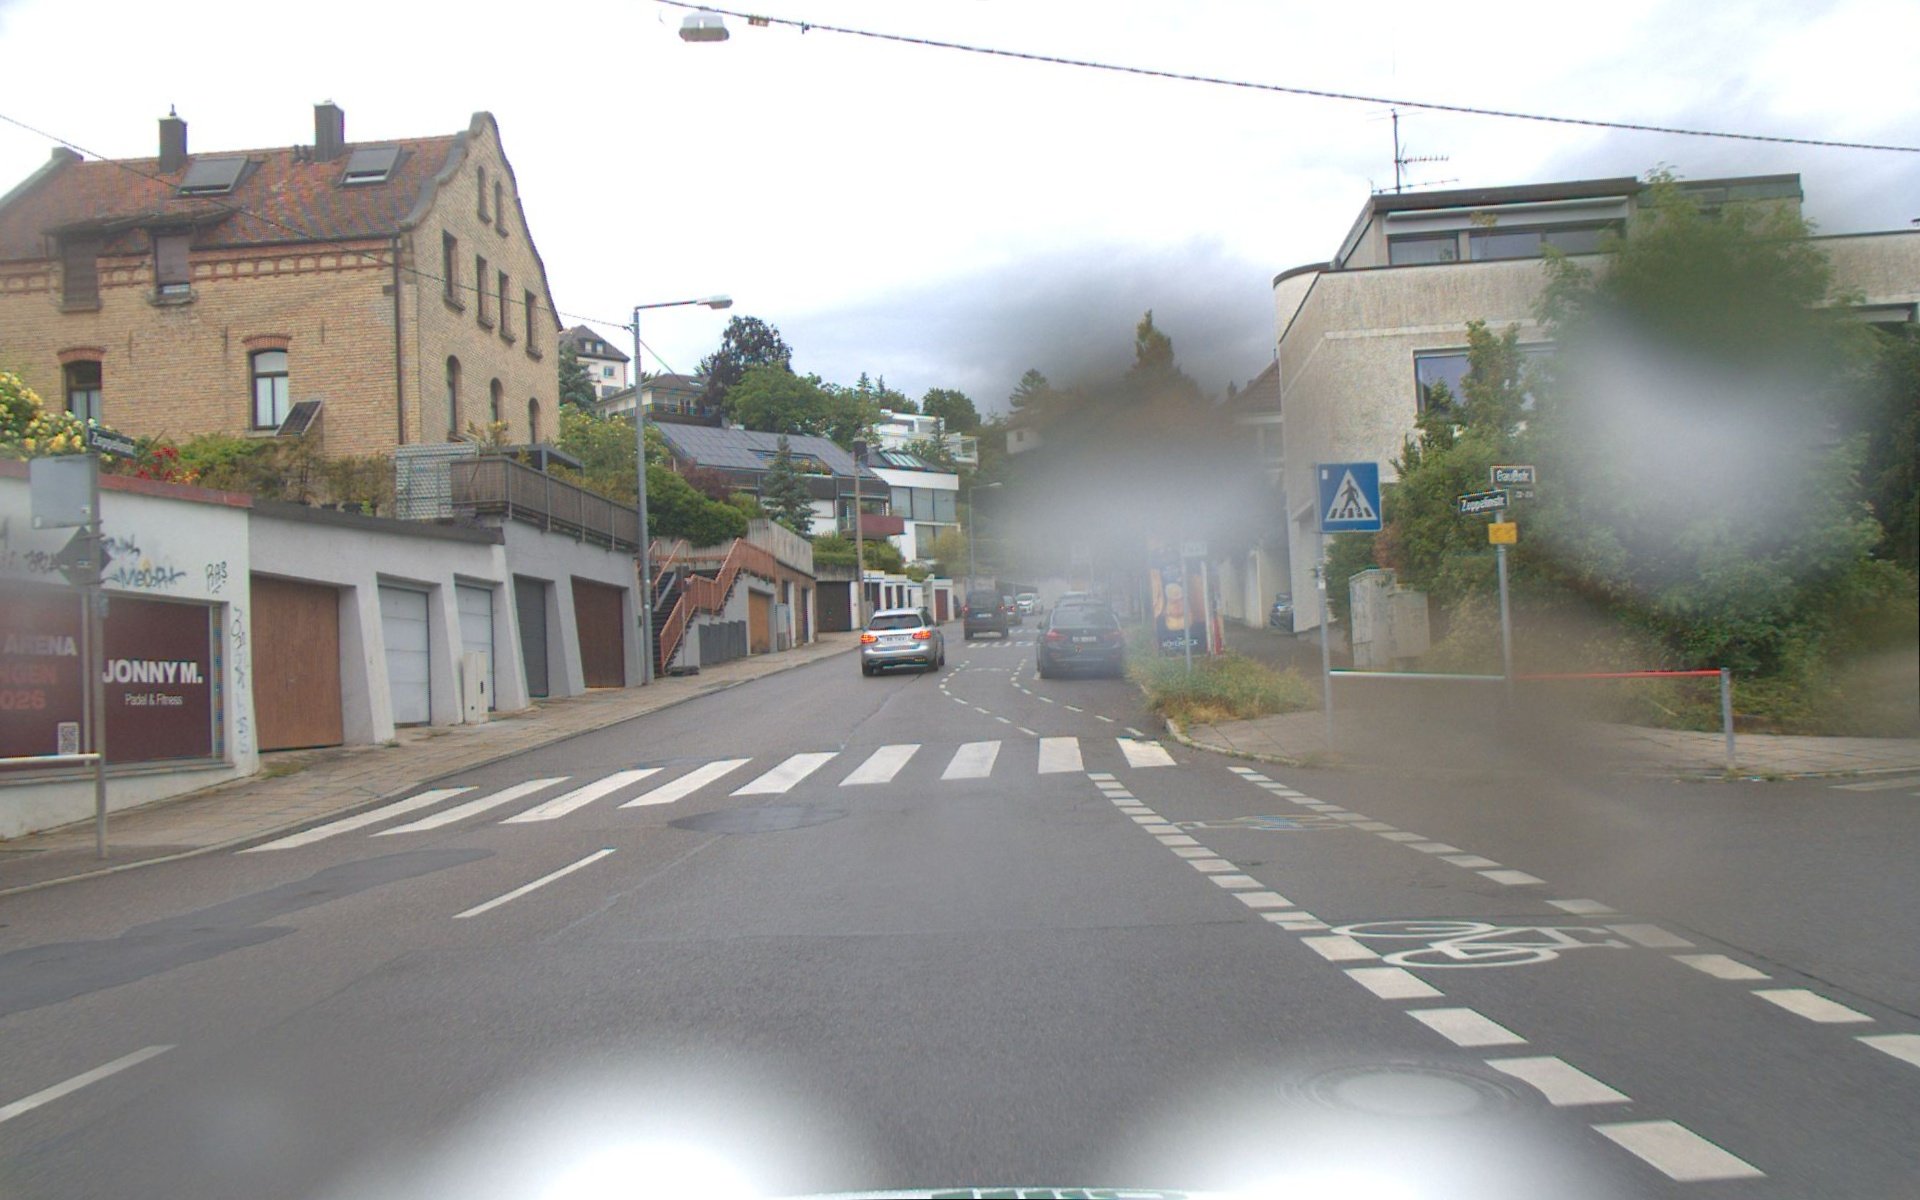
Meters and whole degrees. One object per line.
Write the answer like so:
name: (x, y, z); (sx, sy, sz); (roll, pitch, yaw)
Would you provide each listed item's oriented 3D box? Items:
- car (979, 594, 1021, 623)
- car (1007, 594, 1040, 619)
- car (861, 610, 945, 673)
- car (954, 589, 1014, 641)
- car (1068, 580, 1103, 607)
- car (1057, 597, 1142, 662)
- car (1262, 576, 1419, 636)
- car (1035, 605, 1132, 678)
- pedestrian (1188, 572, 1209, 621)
car: (1.990, 0.417, 81.037); (1.786, 1.319, 4.002); (-2, 0, 4)
car: (4.386, 0.435, 113.686); (1.691, 1.634, 3.552); (-1, 0, 12)
car: (-1.289, 0.935, 38.788); (1.774, 1.384, 4.000); (0, 0, 1)
car: (0.961, 0.537, 63.217); (1.785, 1.851, 4.003); (-2, 0, 7)
car: (6.171, -0.324, 81.170); (1.437, 1.276, 3.585); (-2, 0, 8)
car: (3.371, 0.686, 40.630); (1.681, 1.476, 3.833); (-2, 0, -1)
car: (10.109, 0.152, 43.894); (3.903, 1.440, 1.726); (-2, 0, 18)
car: (2.583, 0.841, 35.399); (1.735, 1.401, 4.349); (-2, 0, 0)
pedestrian: (9.057, -0.117, 62.848); (0.625, 1.826, 0.744); (-2, 0, 1)
